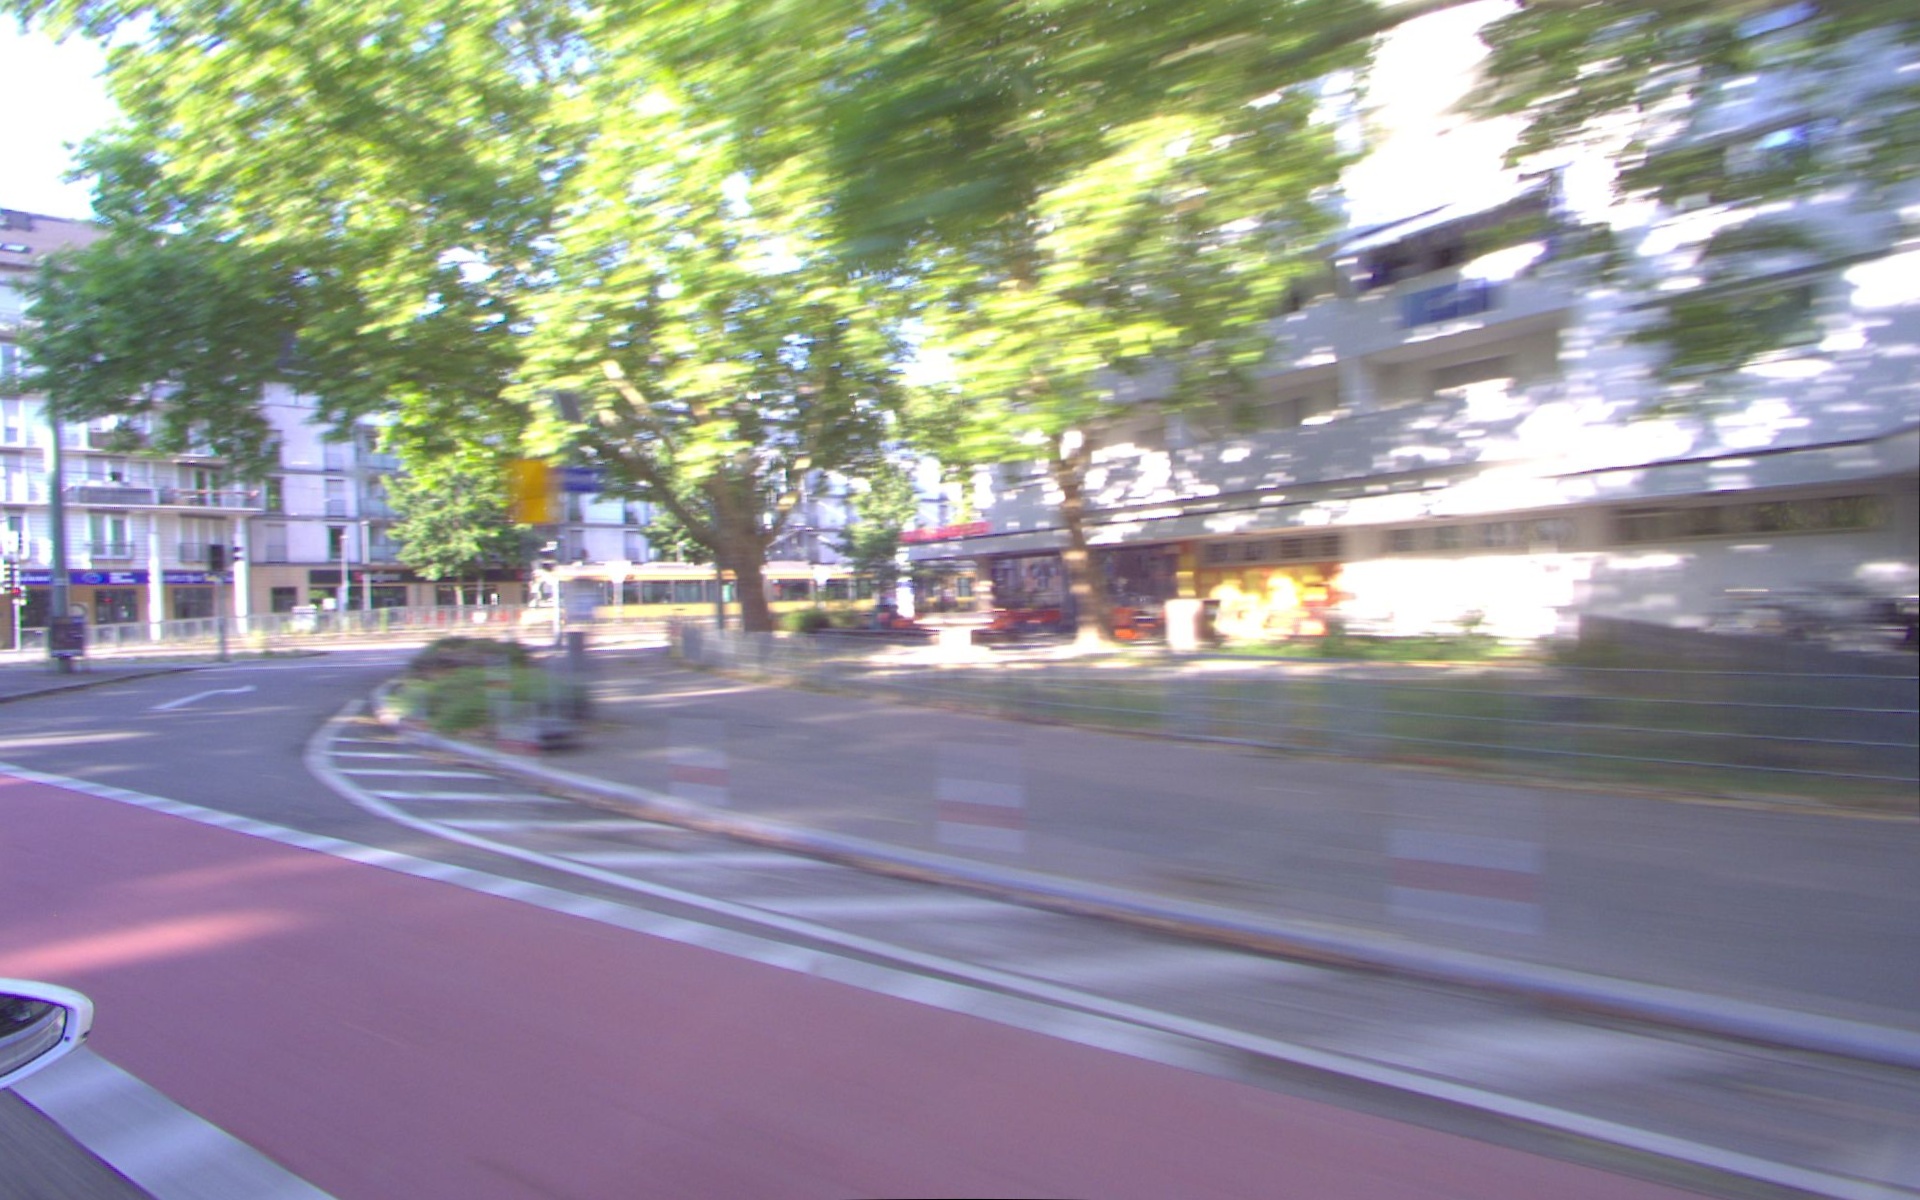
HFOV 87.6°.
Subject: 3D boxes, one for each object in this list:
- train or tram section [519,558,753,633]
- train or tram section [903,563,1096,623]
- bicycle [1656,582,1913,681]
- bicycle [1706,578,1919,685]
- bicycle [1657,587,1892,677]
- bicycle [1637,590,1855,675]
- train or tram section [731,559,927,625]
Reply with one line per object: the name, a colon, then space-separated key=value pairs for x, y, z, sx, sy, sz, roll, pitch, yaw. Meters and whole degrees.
train or tram section: x=-17.373 y=-0.110 z=54.357 sx=11.674 sy=3.686 sz=3.397 roll=1 pitch=-2 yaw=-34
train or tram section: x=2.936 y=-0.326 z=68.486 sx=13.823 sy=3.686 sz=3.397 roll=1 pitch=-2 yaw=-34
bicycle: x=10.398 y=0.421 z=12.731 sx=2.382 sy=1.188 sz=0.767 roll=-1 pitch=-2 yaw=16
bicycle: x=10.266 y=0.380 z=11.661 sx=2.382 sy=1.188 sz=0.767 roll=-1 pitch=-2 yaw=16
bicycle: x=11.182 y=0.457 z=13.847 sx=2.382 sy=1.188 sz=0.767 roll=-1 pitch=-2 yaw=16
bicycle: x=11.493 y=0.490 z=14.744 sx=2.382 sy=1.188 sz=0.767 roll=-1 pitch=-2 yaw=16
train or tram section: x=-7.832 y=-0.335 z=61.212 sx=11.674 sy=3.686 sz=3.397 roll=1 pitch=-2 yaw=-34
